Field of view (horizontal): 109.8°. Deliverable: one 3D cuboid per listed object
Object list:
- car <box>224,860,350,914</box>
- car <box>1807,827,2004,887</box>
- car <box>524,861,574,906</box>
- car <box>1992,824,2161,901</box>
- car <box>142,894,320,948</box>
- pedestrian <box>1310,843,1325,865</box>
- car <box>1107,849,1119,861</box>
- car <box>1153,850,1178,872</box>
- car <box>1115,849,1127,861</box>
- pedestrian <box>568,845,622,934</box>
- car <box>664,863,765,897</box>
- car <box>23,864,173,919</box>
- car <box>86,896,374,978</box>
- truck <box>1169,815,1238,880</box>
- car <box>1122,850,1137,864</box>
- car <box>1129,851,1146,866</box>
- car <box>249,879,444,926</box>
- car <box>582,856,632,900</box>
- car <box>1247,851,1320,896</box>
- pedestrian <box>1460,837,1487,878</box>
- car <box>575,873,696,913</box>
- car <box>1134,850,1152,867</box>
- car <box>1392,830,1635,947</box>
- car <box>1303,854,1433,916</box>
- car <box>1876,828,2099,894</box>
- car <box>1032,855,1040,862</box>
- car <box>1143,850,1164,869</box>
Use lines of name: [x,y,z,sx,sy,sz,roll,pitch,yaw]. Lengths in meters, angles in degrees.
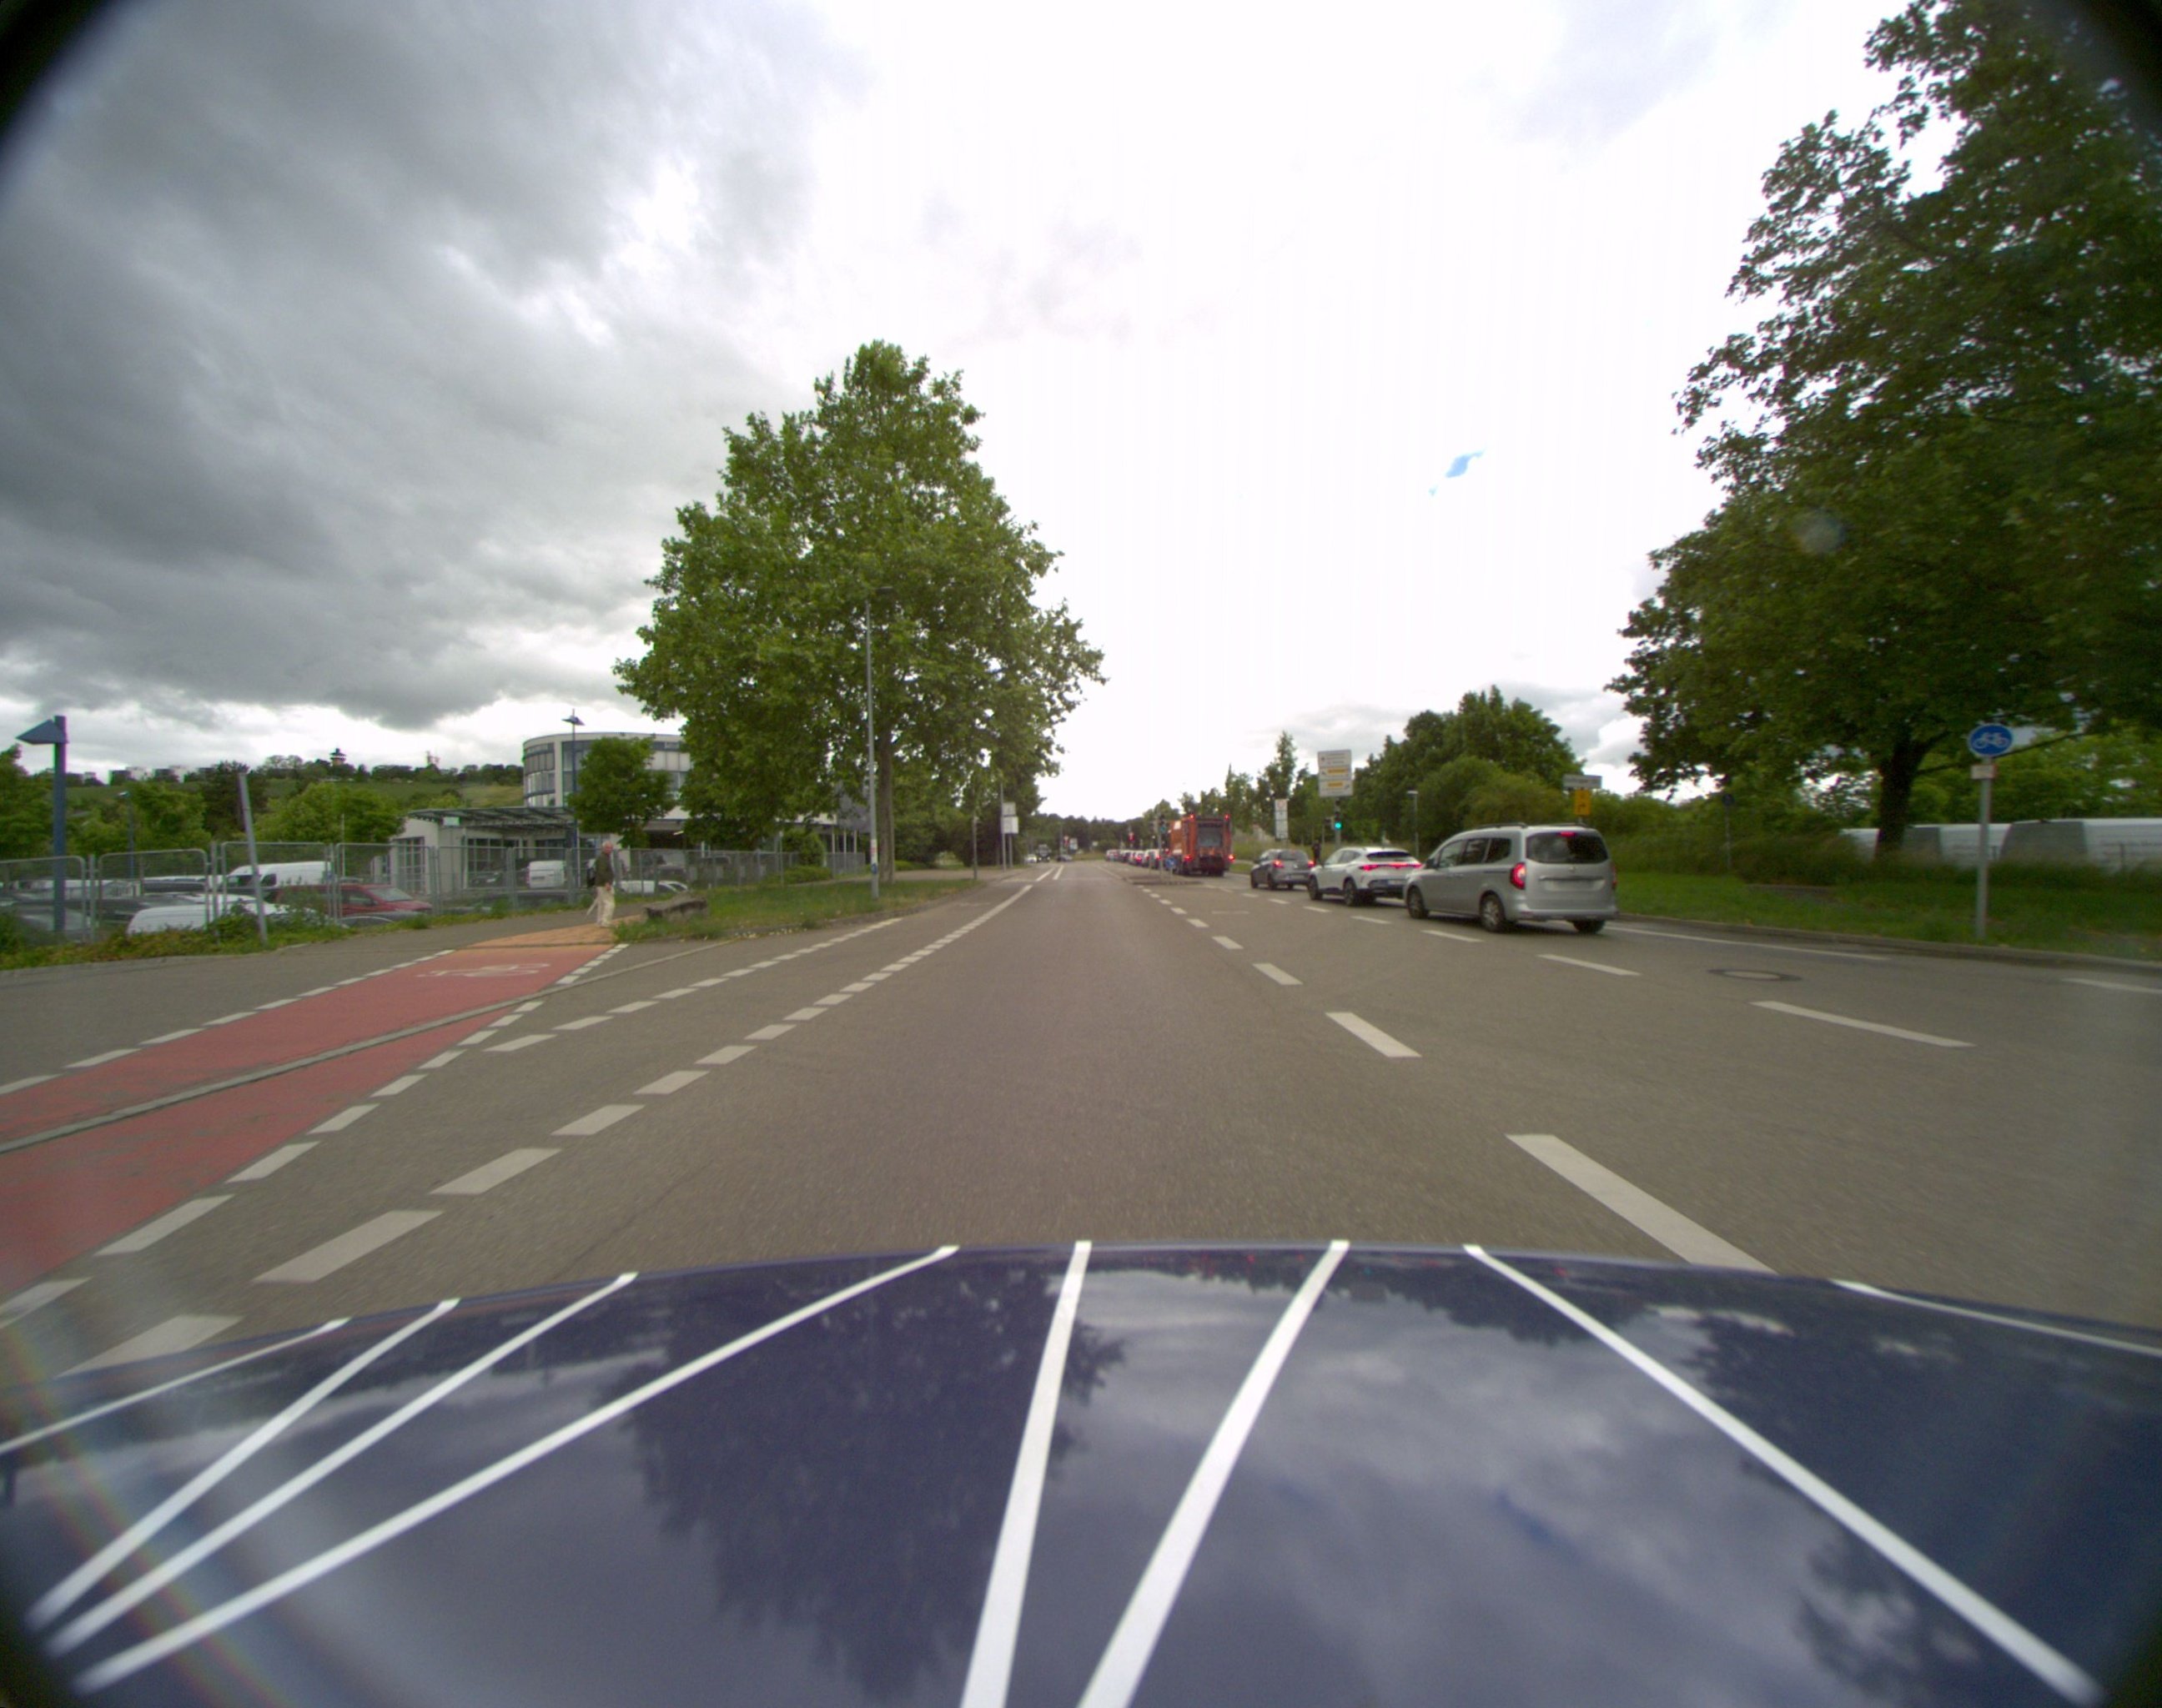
car: [-43.680,1.768,41.977,2.220,2.739,4.484,-1,-1,0]
car: [29.044,0.107,26.839,5.299,2.002,1.738,1,1,-4]
car: [-28.826,1.549,41.206,2.120,2.261,4.472,-1,-1,-35]
car: [28.881,0.226,21.089,5.299,2.002,1.739,1,1,-3]
car: [-29.030,2.273,26.053,3.997,1.440,1.819,-4,-1,0]
pedestrian: [15.795,-0.009,50.694,0.757,1.439,0.639,-2,1,-3]
car: [4.651,0.129,110.091,1.591,1.608,3.583,-1,0,1]
car: [6.637,0.542,59.762,1.591,1.608,3.351,-1,0,1]
car: [5.470,0.094,104.440,1.591,1.608,3.583,-1,0,1]
pedestrian: [-9.521,0.679,14.914,0.734,1.717,0.501,0,1,-7]
car: [-18.780,1.311,39.085,4.189,1.440,1.818,-4,-1,-4]
car: [-52.621,1.949,40.824,2.220,2.739,4.484,-1,-1,0]
car: [-18.511,1.769,16.691,3.997,1.310,2.000,-5,-1,0]
truck: [7.032,-0.375,44.566,2.832,3.460,7.823,-1,0,1]
car: [5.813,0.304,91.195,1.591,1.608,3.583,-1,0,1]
car: [6.045,0.464,81.134,1.591,1.608,3.583,-1,0,1]
car: [-29.785,1.954,30.955,5.809,1.440,1.818,-4,-1,-4]
car: [-26.294,1.319,42.086,2.120,2.261,4.472,-1,-1,-35]
car: [7.363,0.678,27.910,1.640,1.553,3.350,-1,0,-2]
pedestrian: [16.900,0.162,32.731,0.758,1.727,0.638,-2,2,-11]
car: [-19.743,1.723,33.797,4.189,1.440,1.818,-4,-1,-4]
car: [6.087,0.395,74.766,1.591,1.608,3.583,-1,0,1]
car: [7.637,0.527,14.021,1.833,1.759,4.405,-2,0,-2]
car: [7.416,0.734,20.066,1.733,1.477,4.121,0,0,-2]
car: [28.848,0.218,24.263,5.299,2.002,1.738,1,1,-4]
car: [-9.558,0.891,161.989,1.592,1.480,3.582,-1,0,-4]
car: [6.497,0.502,68.185,1.591,1.608,3.583,-1,0,1]
